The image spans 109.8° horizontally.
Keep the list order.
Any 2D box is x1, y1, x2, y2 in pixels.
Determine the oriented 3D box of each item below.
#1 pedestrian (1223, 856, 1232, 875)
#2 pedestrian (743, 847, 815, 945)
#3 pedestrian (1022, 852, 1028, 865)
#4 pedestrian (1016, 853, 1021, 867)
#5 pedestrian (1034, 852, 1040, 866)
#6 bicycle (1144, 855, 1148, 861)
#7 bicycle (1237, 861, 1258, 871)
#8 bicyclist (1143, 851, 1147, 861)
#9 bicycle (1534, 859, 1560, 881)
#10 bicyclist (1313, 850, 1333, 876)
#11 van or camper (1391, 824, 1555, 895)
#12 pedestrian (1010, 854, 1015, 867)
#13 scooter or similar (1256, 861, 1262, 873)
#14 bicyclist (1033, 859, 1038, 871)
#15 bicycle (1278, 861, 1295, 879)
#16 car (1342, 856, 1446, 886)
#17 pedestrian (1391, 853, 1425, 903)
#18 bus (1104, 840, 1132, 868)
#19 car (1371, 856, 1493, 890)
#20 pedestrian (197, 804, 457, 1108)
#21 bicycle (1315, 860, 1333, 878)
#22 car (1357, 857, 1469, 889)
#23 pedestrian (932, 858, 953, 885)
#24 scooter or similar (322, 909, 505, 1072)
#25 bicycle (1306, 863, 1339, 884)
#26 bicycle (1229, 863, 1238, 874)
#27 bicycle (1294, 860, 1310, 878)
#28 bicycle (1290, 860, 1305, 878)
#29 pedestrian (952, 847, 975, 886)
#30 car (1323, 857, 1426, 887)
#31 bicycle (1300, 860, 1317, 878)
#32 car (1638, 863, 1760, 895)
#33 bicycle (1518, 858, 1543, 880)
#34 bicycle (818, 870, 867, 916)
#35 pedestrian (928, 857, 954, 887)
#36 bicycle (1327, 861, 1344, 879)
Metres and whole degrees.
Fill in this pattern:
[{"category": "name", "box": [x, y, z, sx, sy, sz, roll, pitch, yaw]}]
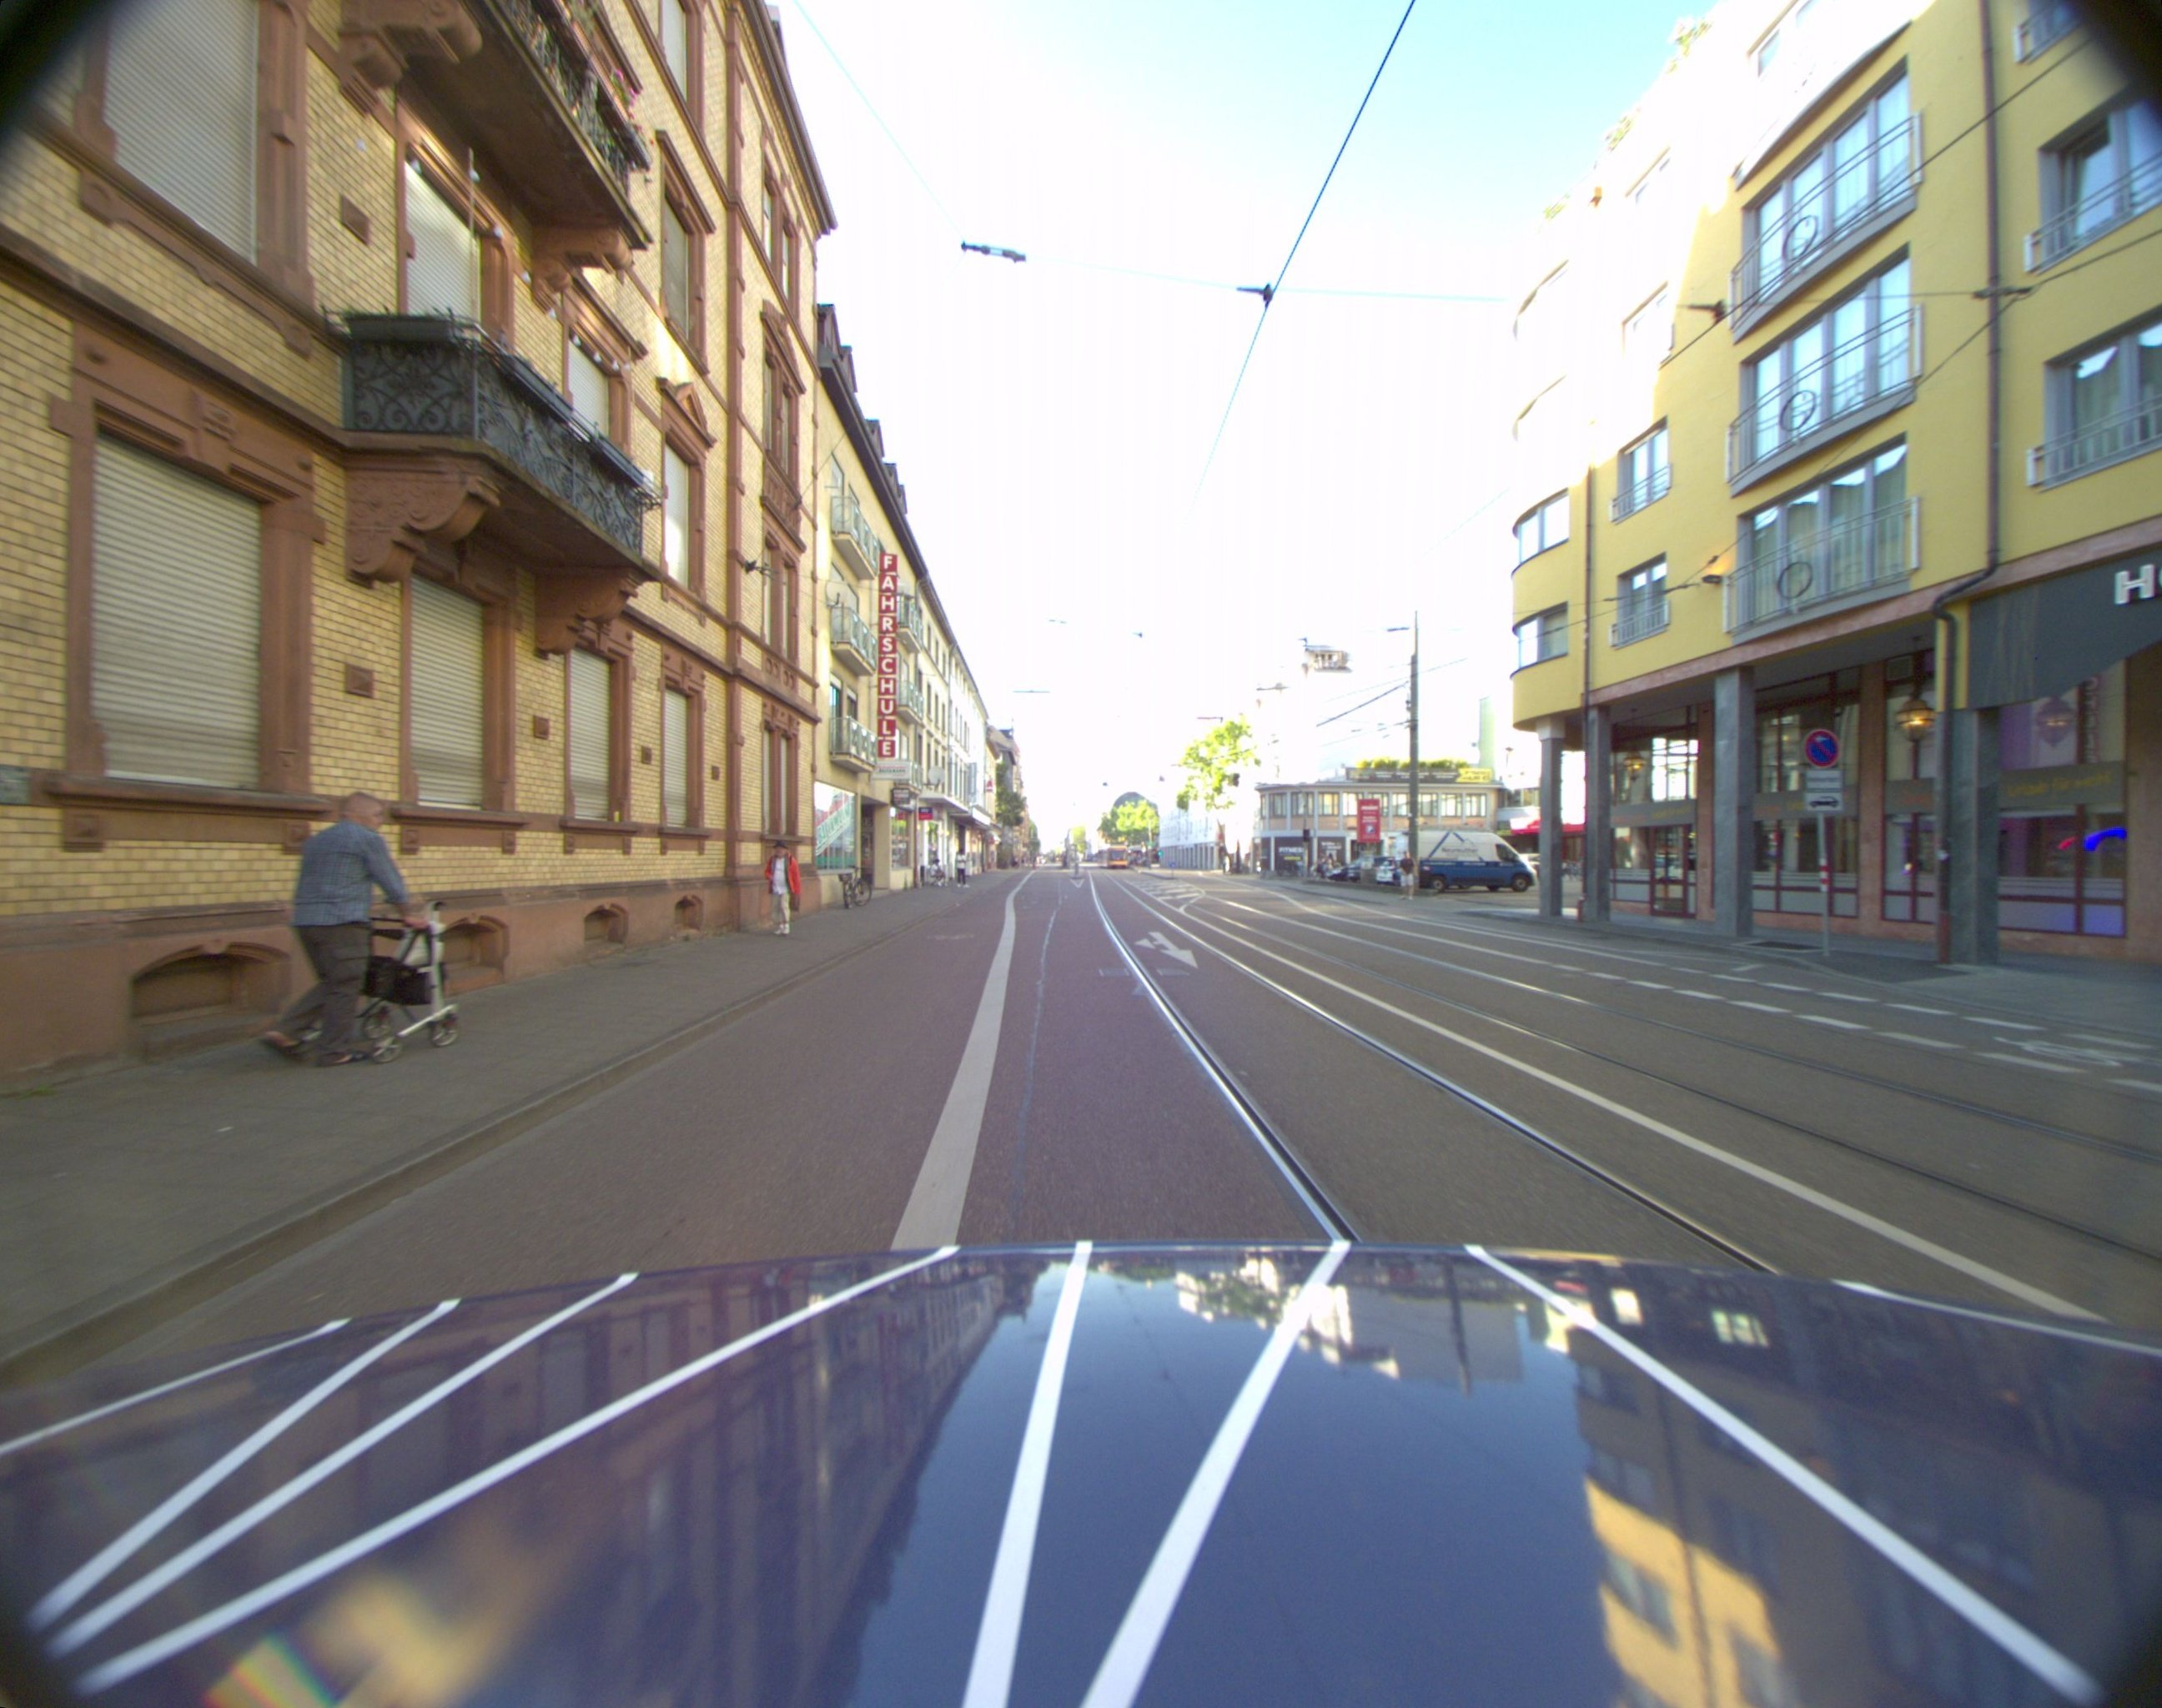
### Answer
[{"category": "pedestrian", "box": [13.826, 1.082, 71.704, 0.630, 1.706, 0.826, 1, 1, 25]}, {"category": "pedestrian", "box": [-5.345, 0.725, 13.492, 0.800, 1.618, 0.825, 5, -1, -1]}, {"category": "pedestrian", "box": [-7.903, 0.595, 106.908, 0.807, 1.789, 0.761, 0, 1, -2]}, {"category": "pedestrian", "box": [-8.106, 0.807, 98.618, 0.650, 1.760, 0.697, 0, 1, 3]}, {"category": "pedestrian", "box": [-5.595, 0.673, 97.467, 0.694, 1.760, 0.697, 0, 1, 3]}, {"category": "bicycle", "box": [11.799, 0.689, 138.337, 0.518, 0.983, 1.726, -1, 0, -1]}, {"category": "bicycle", "box": [15.371, 1.124, 70.047, 1.849, 0.906, 0.390, -1, -3, 3]}, {"category": "bicyclist", "box": [11.640, 0.366, 138.338, 0.515, 1.690, 0.807, -1, 1, -1]}, {"category": "bicycle", "box": [25.490, 0.870, 41.589, 0.432, 1.180, 1.832, 0, 0, 5]}, {"category": "bicyclist", "box": [14.543, 0.536, 45.641, 0.838, 1.541, 0.690, 0, 2, -20]}, {"category": "van or camper", "box": [16.136, 0.245, 31.522, 5.621, 2.810, 2.315, 0, 0, -1]}, {"category": "pedestrian", "box": [-8.805, 0.835, 97.684, 0.651, 1.569, 0.682, 0, 1, -9]}, {"category": "scooter or similar", "box": [16.088, 1.190, 68.671, 0.335, 1.105, 1.182, 0, 1, 21]}, {"category": "bicyclist", "box": [-6.377, 1.552, 106.255, 0.677, 1.604, 0.837, -1, 1, -4]}, {"category": "bicycle", "box": [14.035, 1.076, 51.919, 0.447, 1.180, 1.830, 0, 0, -8]}, {"category": "car", "box": [16.138, 0.852, 39.289, 4.600, 1.466, 1.879, 0, 0, -2]}, {"category": "pedestrian", "box": [12.078, 0.886, 28.113, 0.835, 1.821, 0.909, 0, 0, -2]}, {"category": "bus", "box": [4.961, -0.053, 104.037, 2.819, 3.546, 13.676, 0, 0, -1]}, {"category": "car", "box": [15.710, 0.827, 34.157, 4.600, 1.466, 1.879, 0, 0, -2]}, {"category": "pedestrian", "box": [-4.875, 0.623, 4.981, 0.807, 1.789, 0.761, 4, 0, -2]}, {"category": "bicycle", "box": [16.372, 1.009, 51.252, 0.449, 1.180, 1.831, 0, 0, -5]}, {"category": "car", "box": [16.004, 0.916, 36.751, 4.600, 1.466, 1.879, 0, 0, -2]}, {"category": "pedestrian", "box": [-6.520, 0.820, 35.707, 0.708, 1.168, 1.014, 6, 0, -21]}, {"category": "scooter or similar", "box": [-4.924, 0.989, 5.642, 0.807, 1.064, 0.521, 5, 0, -2]}, {"category": "bicycle", "box": [14.488, 1.167, 45.643, 1.833, 1.164, 0.682, 0, 2, -20]}, {"category": "bicycle", "box": [14.186, 1.352, 70.583, 0.389, 0.907, 1.851, -1, 0, -1]}, {"category": "bicycle", "box": [14.952, 1.007, 51.456, 0.449, 1.180, 1.831, 0, 0, -5]}, {"category": "bicycle", "box": [14.567, 0.987, 51.186, 0.441, 1.180, 1.831, 0, 0, -3]}, {"category": "pedestrian", "box": [-5.590, 0.595, 36.225, 0.705, 1.801, 0.680, 6, 0, 13]}, {"category": "car", "box": [16.082, 0.999, 41.805, 4.907, 1.574, 1.879, 0, 0, -2]}, {"category": "bicycle", "box": [15.367, 0.989, 51.289, 0.444, 1.180, 1.831, 0, 0, -5]}, {"category": "car", "box": [27.736, 1.097, 34.192, 3.998, 1.346, 1.999, 0, 0, -4]}, {"category": "bicycle", "box": [24.837, 0.839, 41.983, 0.432, 1.180, 1.832, 0, 0, 5]}, {"category": "bicycle", "box": [-6.083, 0.965, 19.498, 0.556, 1.055, 2.310, 3, 0, -1]}, {"category": "pedestrian", "box": [-6.393, 0.810, 34.701, 0.833, 1.248, 0.705, 6, 0, -37]}, {"category": "bicycle", "box": [17.111, 1.050, 51.119, 0.449, 1.180, 1.831, 0, 0, -5]}]
